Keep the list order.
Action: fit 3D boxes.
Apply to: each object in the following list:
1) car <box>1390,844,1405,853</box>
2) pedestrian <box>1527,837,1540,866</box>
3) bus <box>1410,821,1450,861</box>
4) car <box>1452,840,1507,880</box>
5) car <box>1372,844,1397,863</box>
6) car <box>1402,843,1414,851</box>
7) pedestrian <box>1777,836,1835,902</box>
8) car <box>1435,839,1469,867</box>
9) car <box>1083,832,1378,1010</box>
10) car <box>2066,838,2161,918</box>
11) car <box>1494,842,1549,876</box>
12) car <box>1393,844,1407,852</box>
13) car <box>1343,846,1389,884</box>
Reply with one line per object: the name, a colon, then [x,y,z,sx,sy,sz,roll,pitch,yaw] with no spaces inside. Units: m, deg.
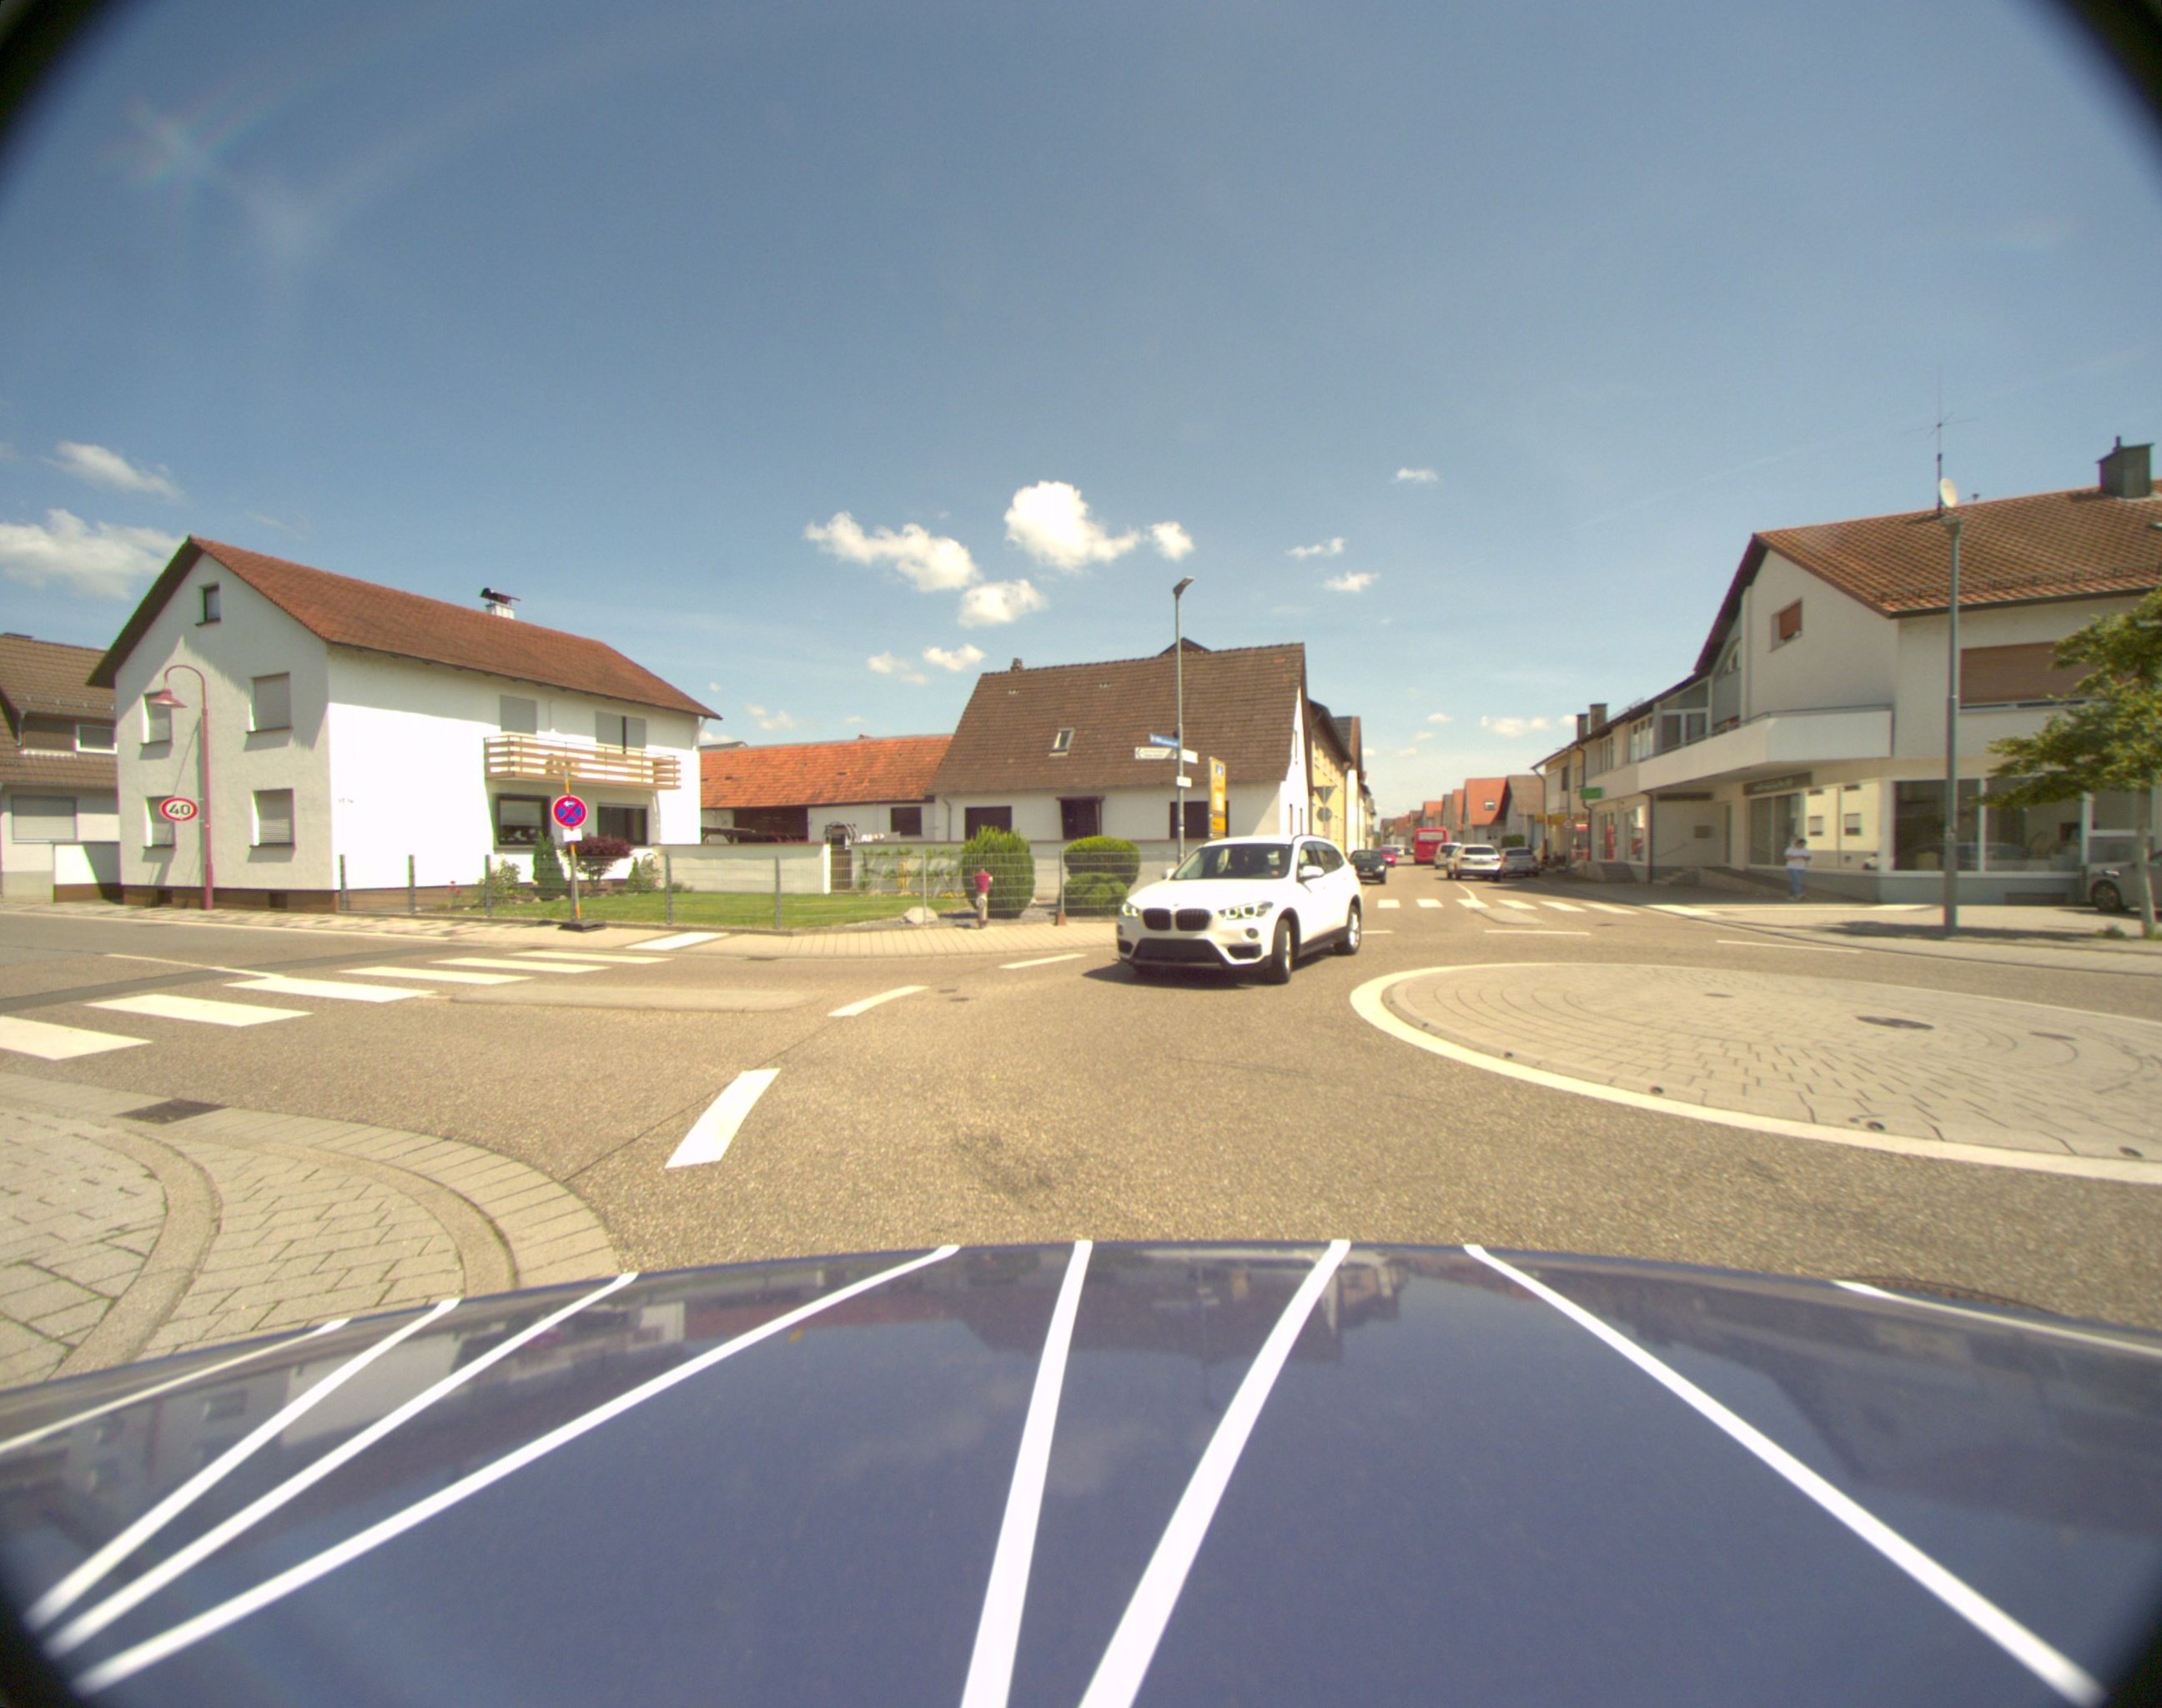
car: [46.937,-0.821,112.818,1.762,1.420,4.195,0,1,19]
pedestrian: [27.814,-0.149,46.719,0.578,1.780,0.694,-2,1,23]
bus: [30.609,-1.161,67.030,2.628,3.214,12.040,2,2,22]
car: [18.334,0.229,35.116,1.867,1.700,4.549,0,1,23]
car: [23.750,-0.087,59.408,1.761,1.420,4.195,0,1,22]
car: [63.251,-1.386,147.019,1.762,1.420,3.858,0,1,19]
pedestrian: [18.030,0.355,18.923,0.756,1.574,0.958,-2,1,24]
car: [25.500,-0.106,52.393,1.773,1.811,4.448,1,1,22]
car: [2.073,0.606,9.277,1.841,1.635,4.383,-2,0,35]
car: [20.692,0.449,13.517,1.832,1.442,4.485,0,1,22]
car: [22.779,0.234,39.428,1.746,1.507,4.005,-4,0,21]
car: [51.765,-0.970,123.374,1.762,1.420,4.195,0,1,19]
car: [12.214,0.414,32.472,1.687,1.455,3.635,2,1,22]
